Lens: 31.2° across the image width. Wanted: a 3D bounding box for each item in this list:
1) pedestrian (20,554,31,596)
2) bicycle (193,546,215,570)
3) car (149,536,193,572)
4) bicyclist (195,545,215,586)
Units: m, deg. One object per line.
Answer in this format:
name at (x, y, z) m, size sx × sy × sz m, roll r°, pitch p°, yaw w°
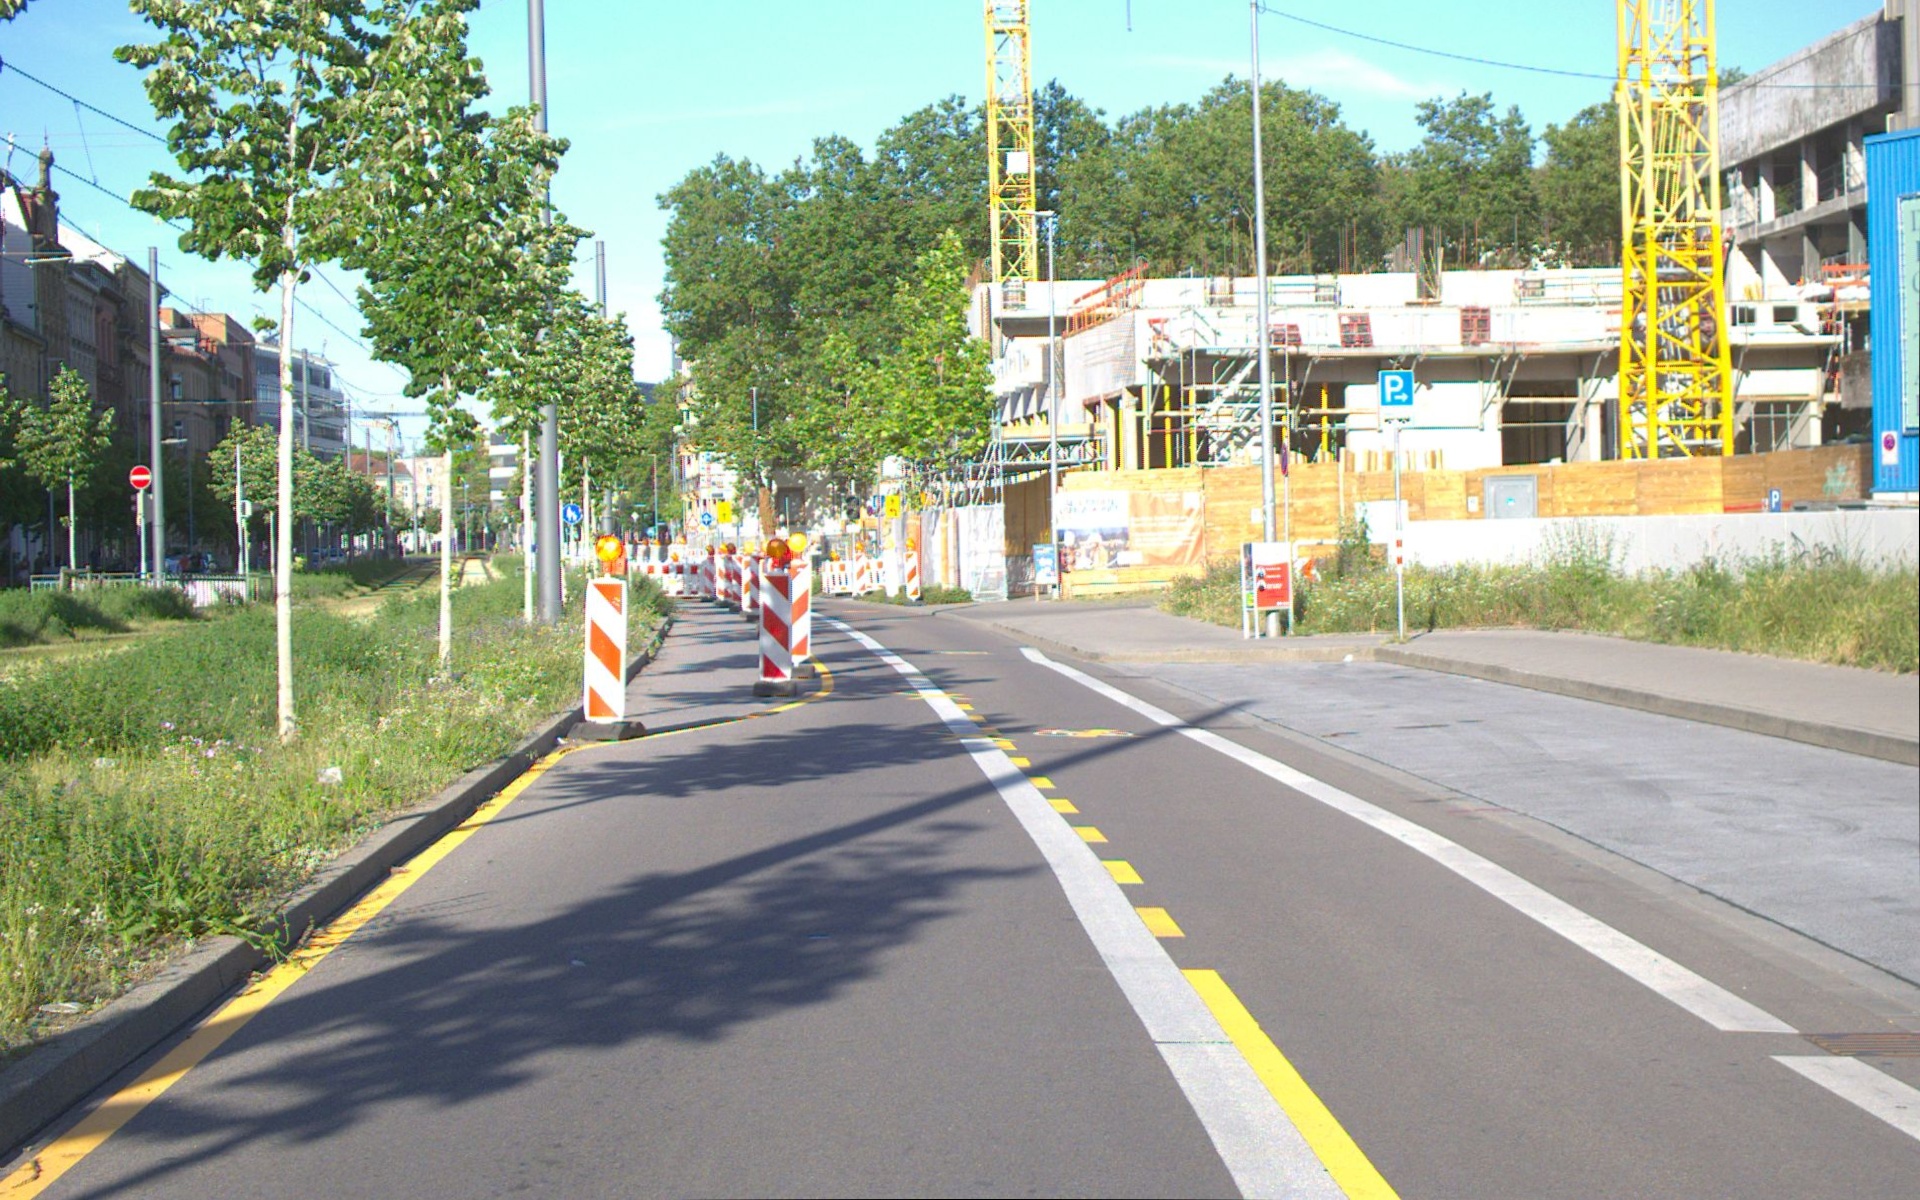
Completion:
pedestrian at (-39.912, -1.070, 146.771) m, size 0.366 × 1.759 × 0.406 m, roll 1°, pitch 0°, yaw -8°
bicycle at (-30.926, -1.714, 140.651) m, size 0.695 × 0.974 × 1.827 m, roll -1°, pitch 1°, yaw -7°
car at (-36.169, -2.120, 157.684) m, size 1.566 × 1.557 × 4.716 m, roll -1°, pitch 1°, yaw -8°
bicyclist at (-30.993, -1.418, 141.119) m, size 0.695 × 1.652 × 0.882 m, roll -1°, pitch 0°, yaw -7°
